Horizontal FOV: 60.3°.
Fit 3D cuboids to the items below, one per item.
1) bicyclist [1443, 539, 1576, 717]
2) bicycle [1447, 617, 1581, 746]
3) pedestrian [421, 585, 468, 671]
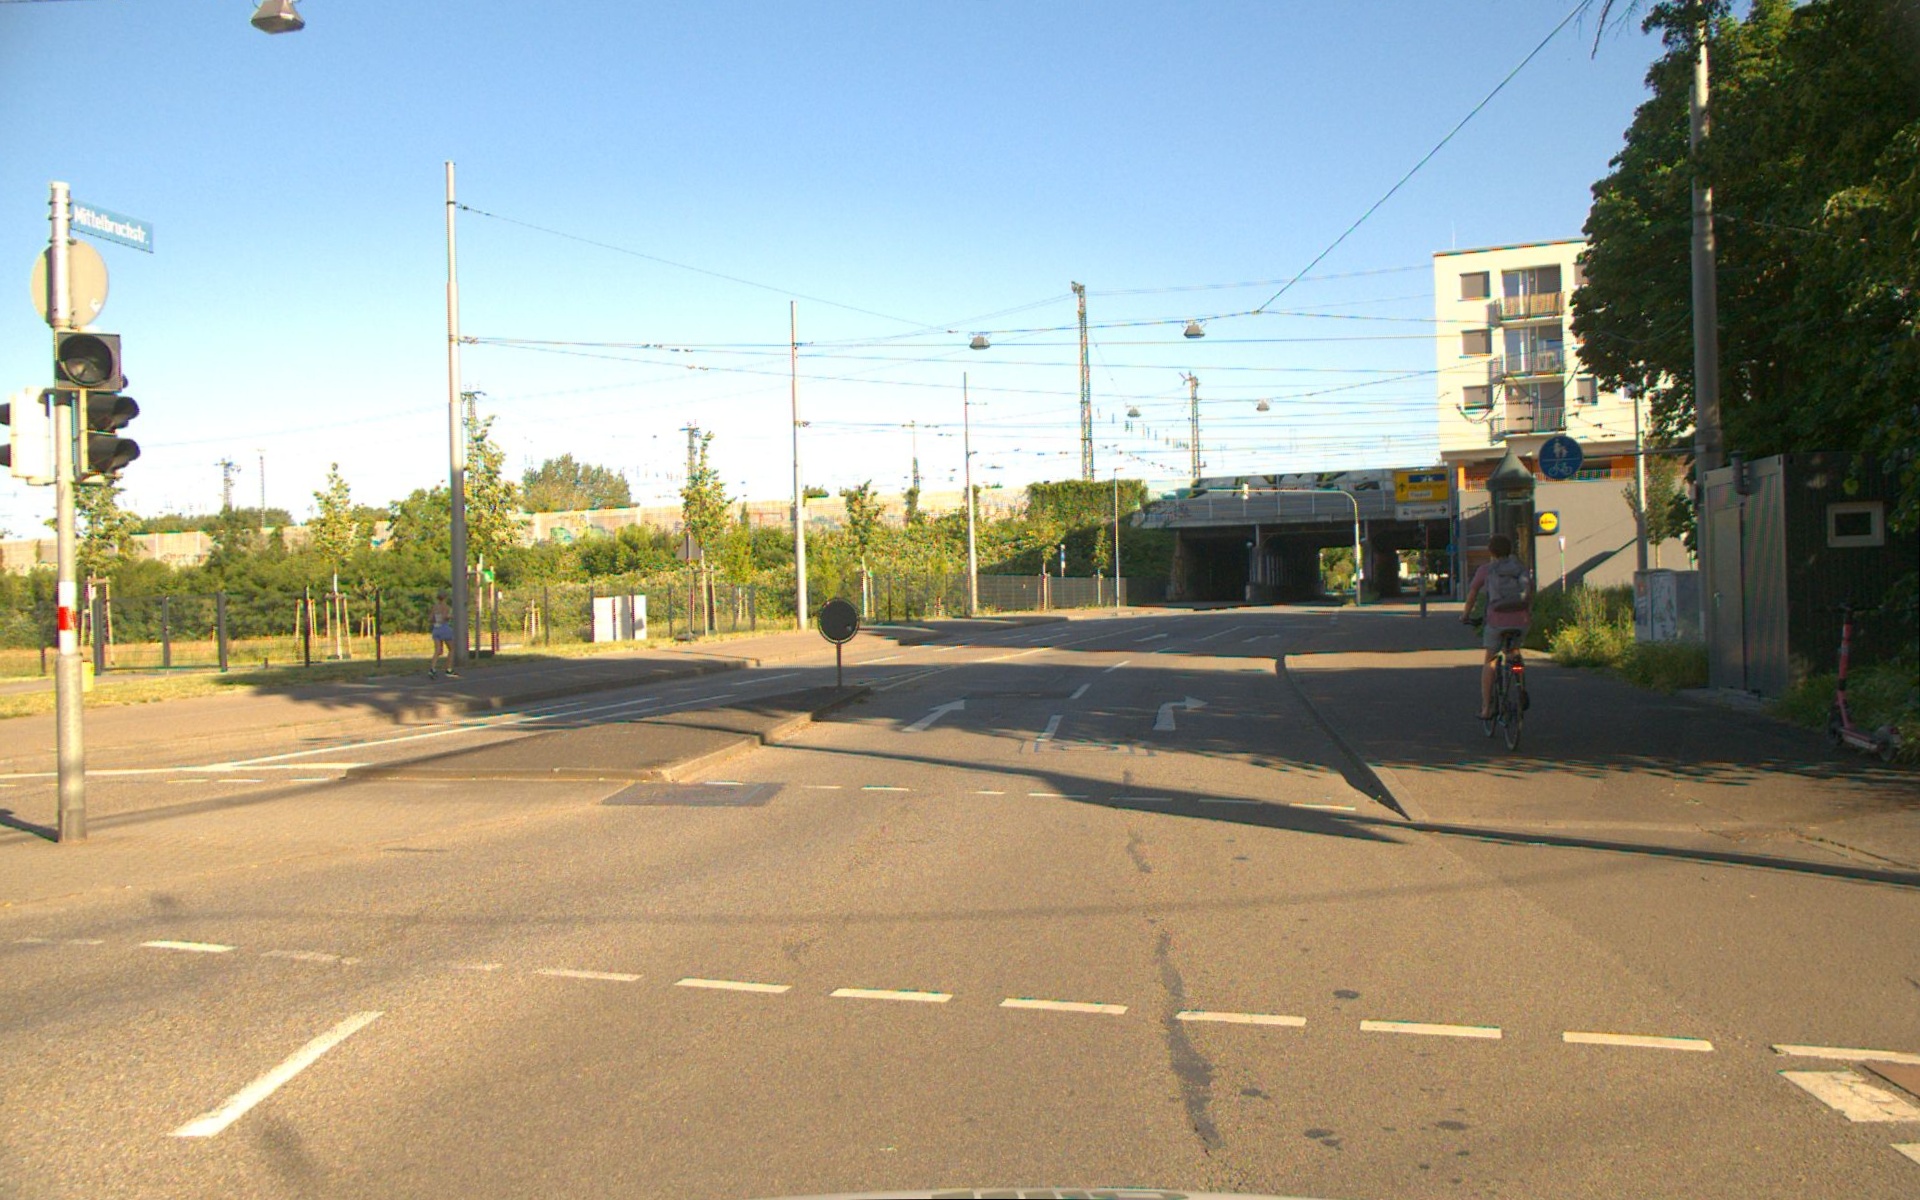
[{"bbox_3d":[5.043,0.252,15.265,0.822,1.536,1.369,-2,-1,5],"label":"bicyclist"},{"bbox_3d":[5.049,0.707,15.202,0.653,1.078,2.083,-2,-1,5],"label":"bicycle"},{"bbox_3d":[-9.917,0.535,31.840,0.586,1.624,0.685,-1,-1,16],"label":"pedestrian"}]
